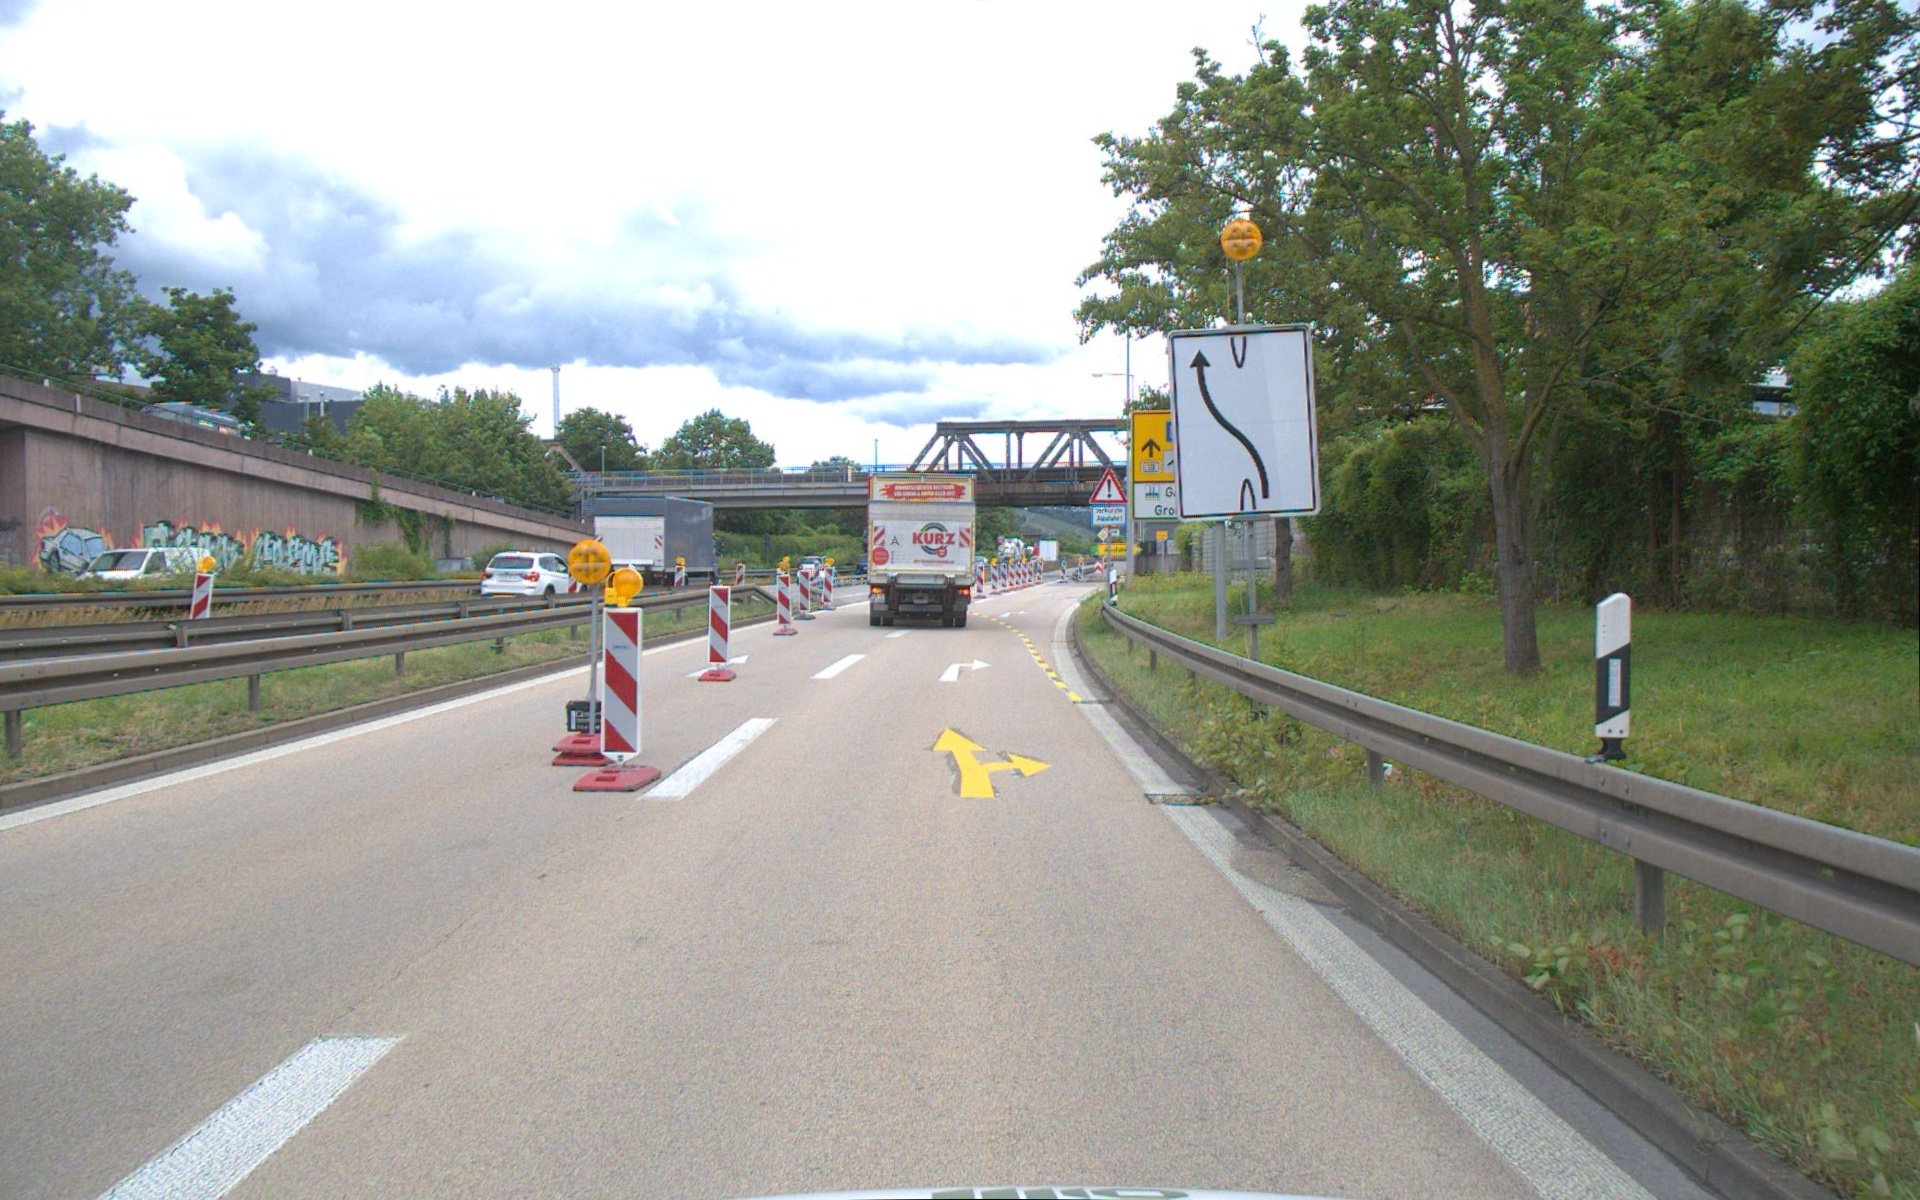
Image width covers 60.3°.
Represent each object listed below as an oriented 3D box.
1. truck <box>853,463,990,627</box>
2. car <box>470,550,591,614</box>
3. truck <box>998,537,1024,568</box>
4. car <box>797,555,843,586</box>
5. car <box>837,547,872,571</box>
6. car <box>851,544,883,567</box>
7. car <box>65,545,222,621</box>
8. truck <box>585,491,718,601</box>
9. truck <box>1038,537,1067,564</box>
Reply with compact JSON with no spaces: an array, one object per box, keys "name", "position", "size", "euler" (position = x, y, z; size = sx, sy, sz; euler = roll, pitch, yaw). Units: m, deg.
[{"name":"truck","position":[-0.801,-1.314,41.603],"size":[2.987,3.737,7.930],"euler":[0,1,2]},{"name":"car","position":[-12.199,-0.508,47.200],"size":[1.951,1.742,4.104],"euler":[0,1,7]},{"name":"truck","position":[6.497,-5.974,209.510],"size":[3.218,3.920,7.668],"euler":[0,1,3]},{"name":"car","position":[-7.603,-1.598,89.848],"size":[1.952,1.646,4.002],"euler":[0,1,3]},{"name":"car","position":[-7.318,-2.822,114.746],"size":[1.952,1.646,4.002],"euler":[0,1,3]},{"name":"car","position":[-6.939,-3.333,123.587],"size":[1.952,1.646,4.002],"euler":[0,1,3]},{"name":"car","position":[-23.329,-0.496,47.491],"size":[1.952,2.049,4.711],"euler":[0,1,3]},{"name":"truck","position":[-11.033,-1.892,59.883],"size":[2.987,3.720,7.399],"euler":[0,1,4]},{"name":"truck","position":[12.676,-6.806,227.004],"size":[3.827,3.611,8.143],"euler":[0,1,2]}]
